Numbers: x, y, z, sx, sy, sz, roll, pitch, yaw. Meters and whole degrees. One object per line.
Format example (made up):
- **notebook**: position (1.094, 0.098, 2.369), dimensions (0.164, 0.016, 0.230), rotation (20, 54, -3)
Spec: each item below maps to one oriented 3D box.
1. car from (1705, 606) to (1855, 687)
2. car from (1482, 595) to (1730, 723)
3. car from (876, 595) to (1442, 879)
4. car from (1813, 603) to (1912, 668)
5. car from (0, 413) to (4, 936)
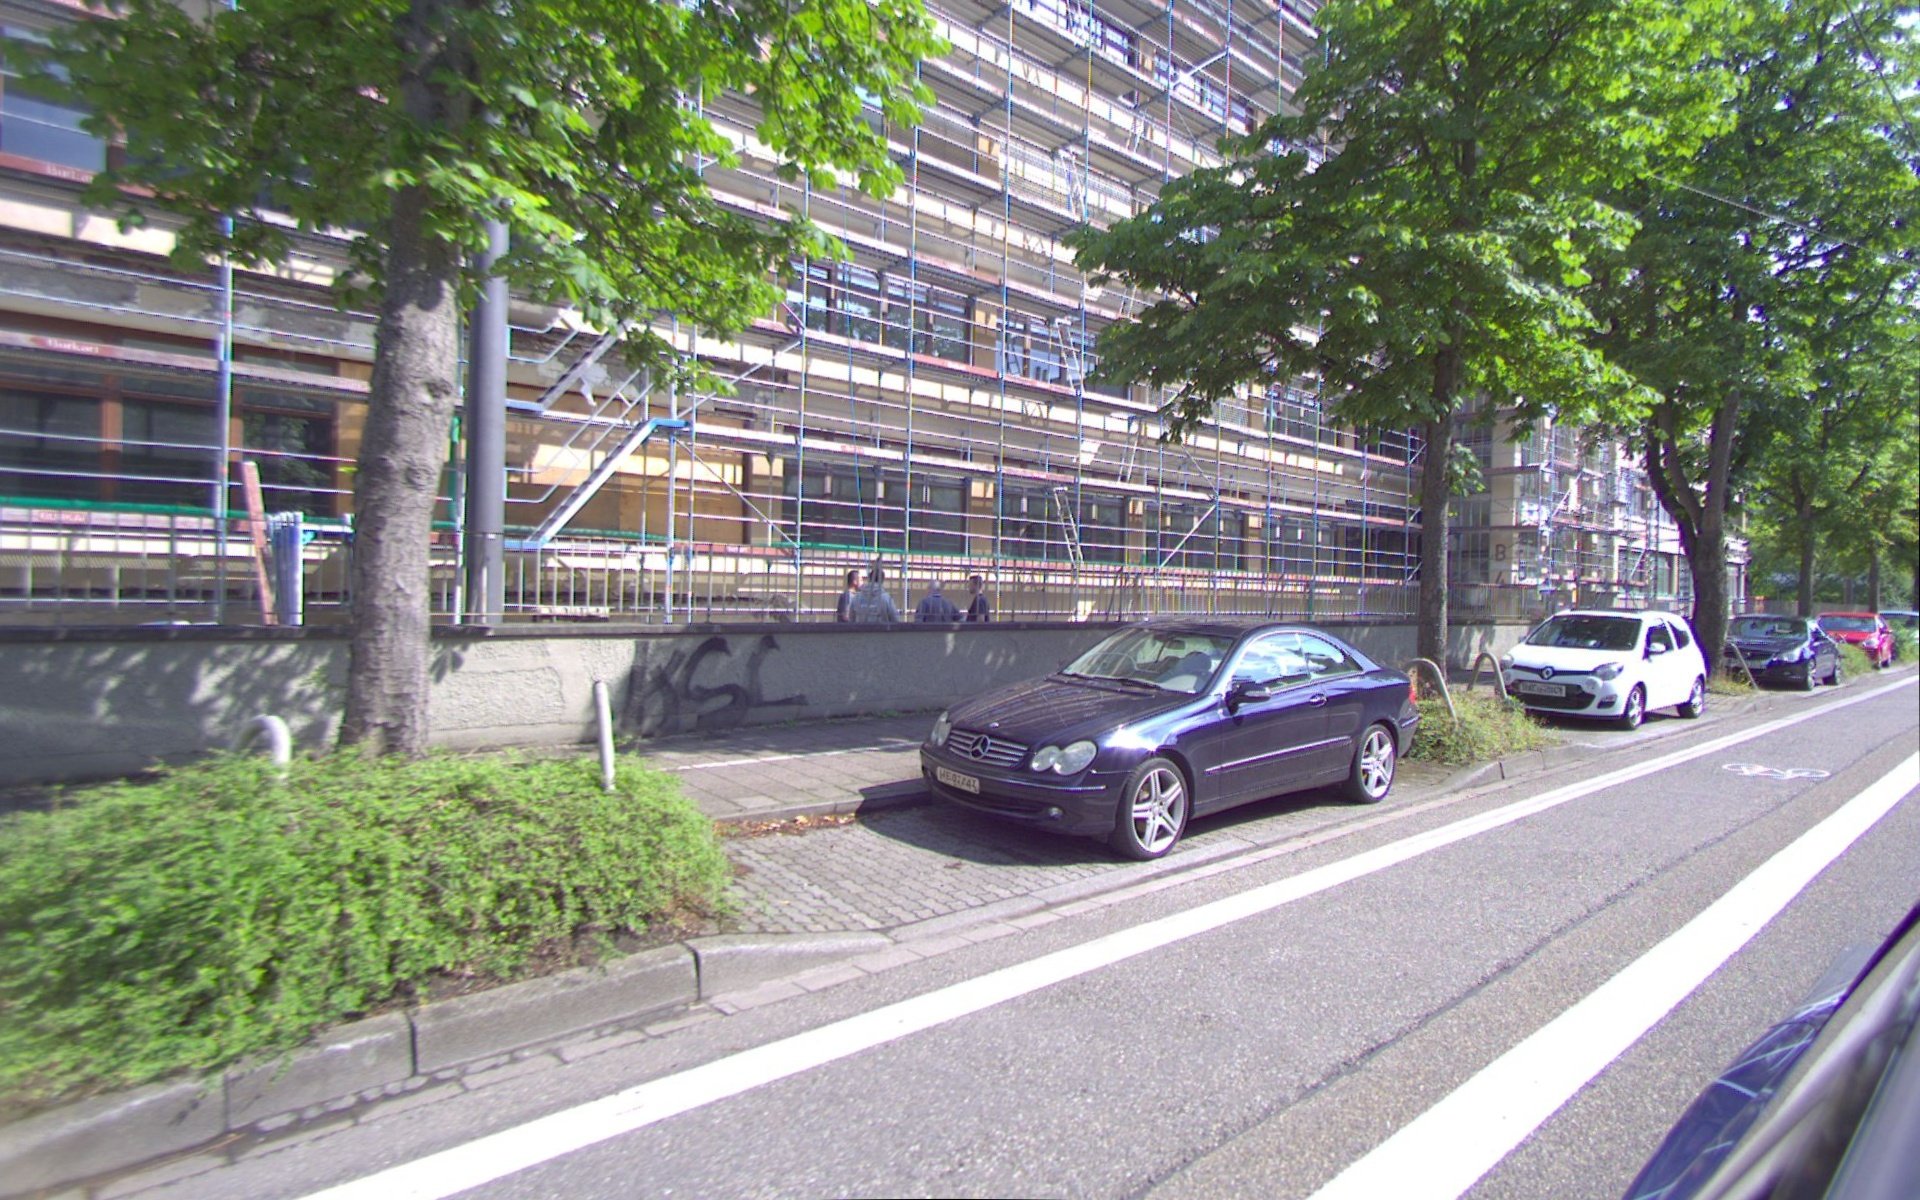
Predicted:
- **car**: position (16.427, 0.860, 20.227), dimensions (3.567, 1.416, 1.735), rotation (-1, 0, -41)
- **car**: position (8.784, 0.688, 13.662), dimensions (3.823, 1.475, 1.569), rotation (-1, 0, -37)
- **car**: position (1.692, 0.725, 7.530), dimensions (4.429, 1.388, 1.738), rotation (-1, 4, -41)
- **car**: position (24.289, 0.894, 27.205), dimensions (3.584, 1.594, 1.531), rotation (-1, 0, -41)
- **car**: position (-5.354, 0.108, 1.337), dimensions (5.816, 2.598, 2.128), rotation (-1, 4, -41)
